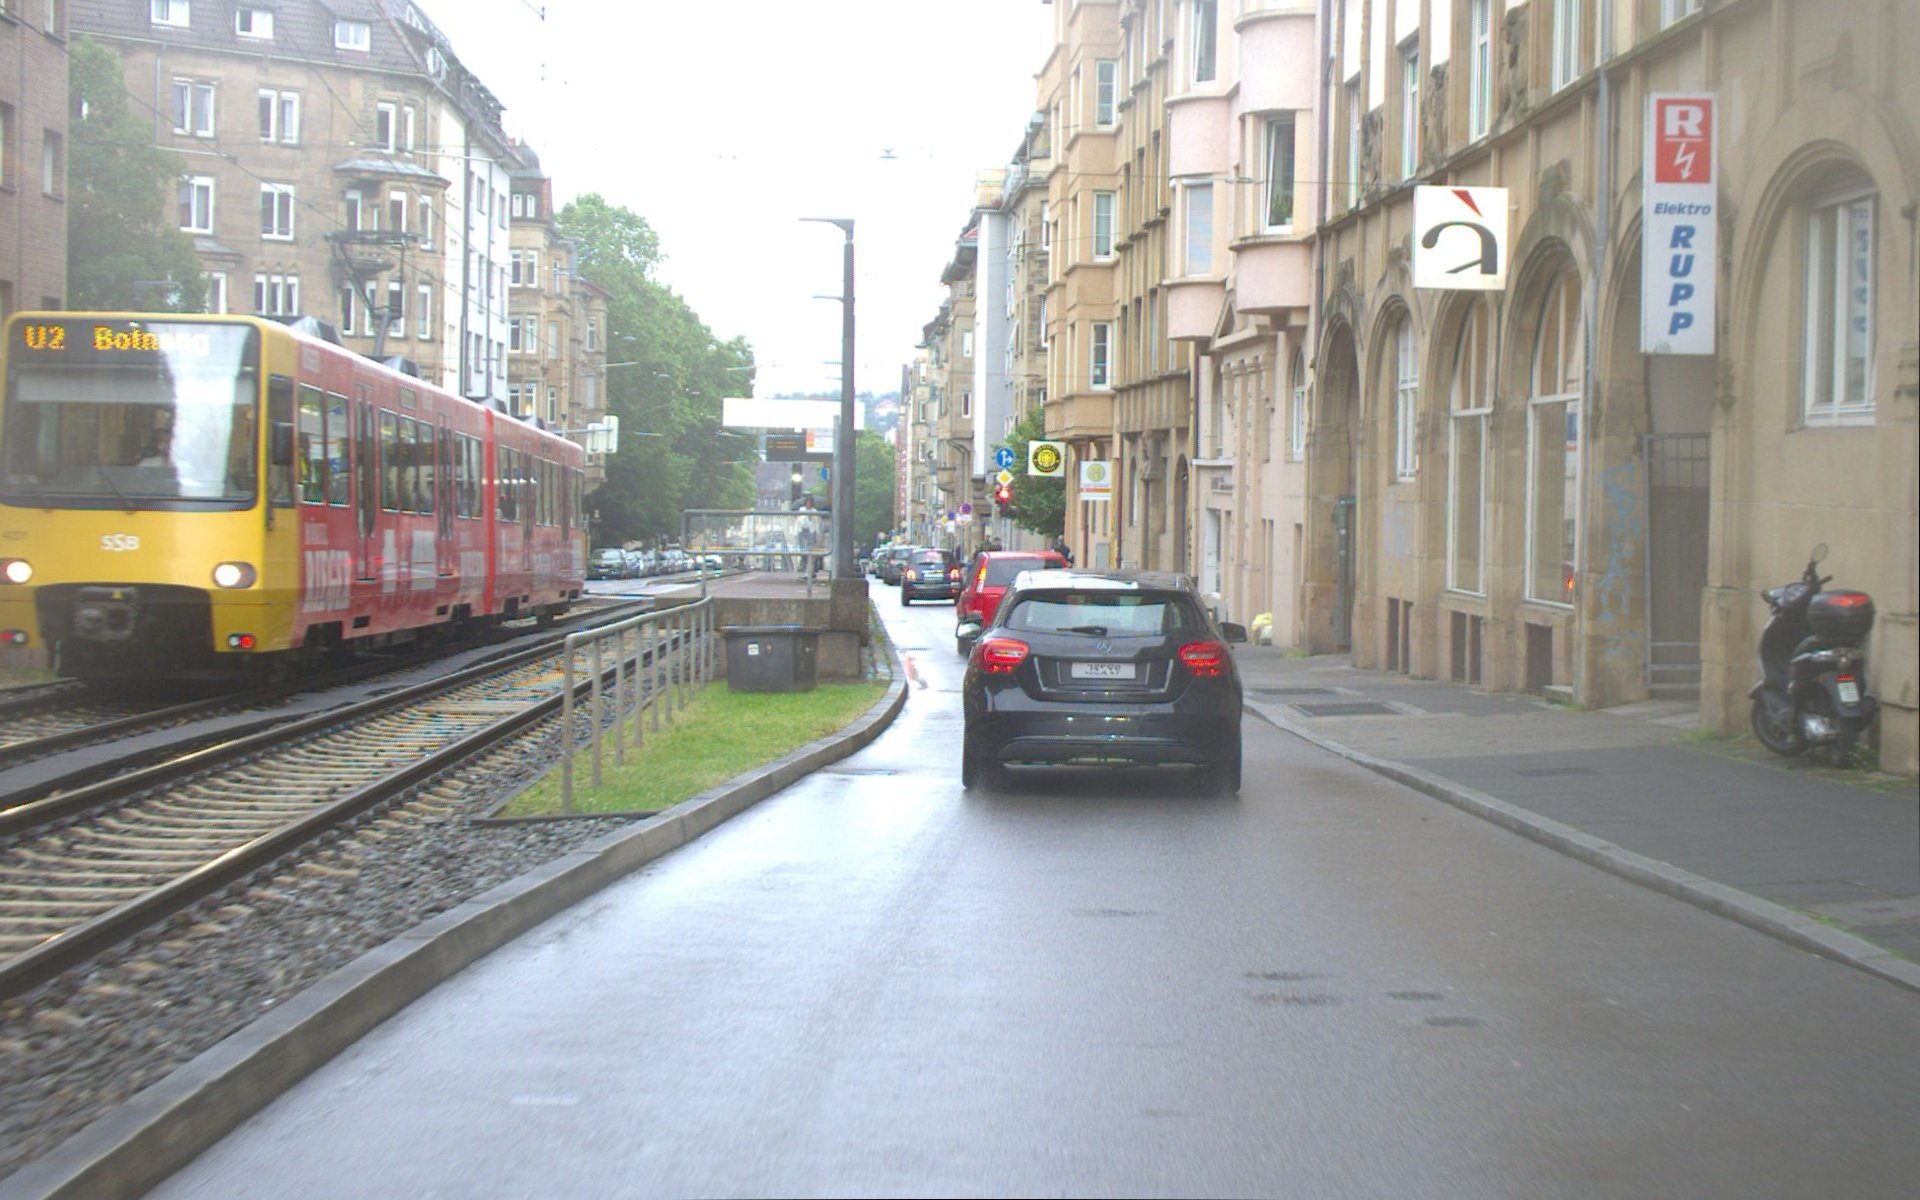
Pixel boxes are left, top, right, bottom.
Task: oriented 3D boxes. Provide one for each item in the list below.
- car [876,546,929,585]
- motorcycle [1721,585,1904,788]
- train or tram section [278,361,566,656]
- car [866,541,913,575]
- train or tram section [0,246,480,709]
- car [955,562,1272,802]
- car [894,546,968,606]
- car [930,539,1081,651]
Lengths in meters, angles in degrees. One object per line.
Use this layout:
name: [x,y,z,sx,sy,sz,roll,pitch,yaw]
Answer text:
car: [-2.415,-1.423,142.646,2.134,1.520,4.246,1,0,-1]
motorcycle: [5.391,0.516,21.867,0.556,1.156,2.269,-4,1,1]
train or tram section: [-8.290,-1.377,55.049,2.745,4.048,15.663,0,1,-2]
car: [-3.264,-1.921,158.615,2.134,1.520,4.246,1,0,-1]
train or tram section: [-7.645,-1.204,38.707,2.745,4.048,17.216,0,1,-2]
car: [0.930,0.483,22.840,1.834,1.448,3.902,0,0,-1]
car: [-0.763,-0.642,91.899,1.887,1.520,4.245,1,0,0]
car: [0.615,-0.088,49.893,1.993,1.520,4.246,1,0,-1]
